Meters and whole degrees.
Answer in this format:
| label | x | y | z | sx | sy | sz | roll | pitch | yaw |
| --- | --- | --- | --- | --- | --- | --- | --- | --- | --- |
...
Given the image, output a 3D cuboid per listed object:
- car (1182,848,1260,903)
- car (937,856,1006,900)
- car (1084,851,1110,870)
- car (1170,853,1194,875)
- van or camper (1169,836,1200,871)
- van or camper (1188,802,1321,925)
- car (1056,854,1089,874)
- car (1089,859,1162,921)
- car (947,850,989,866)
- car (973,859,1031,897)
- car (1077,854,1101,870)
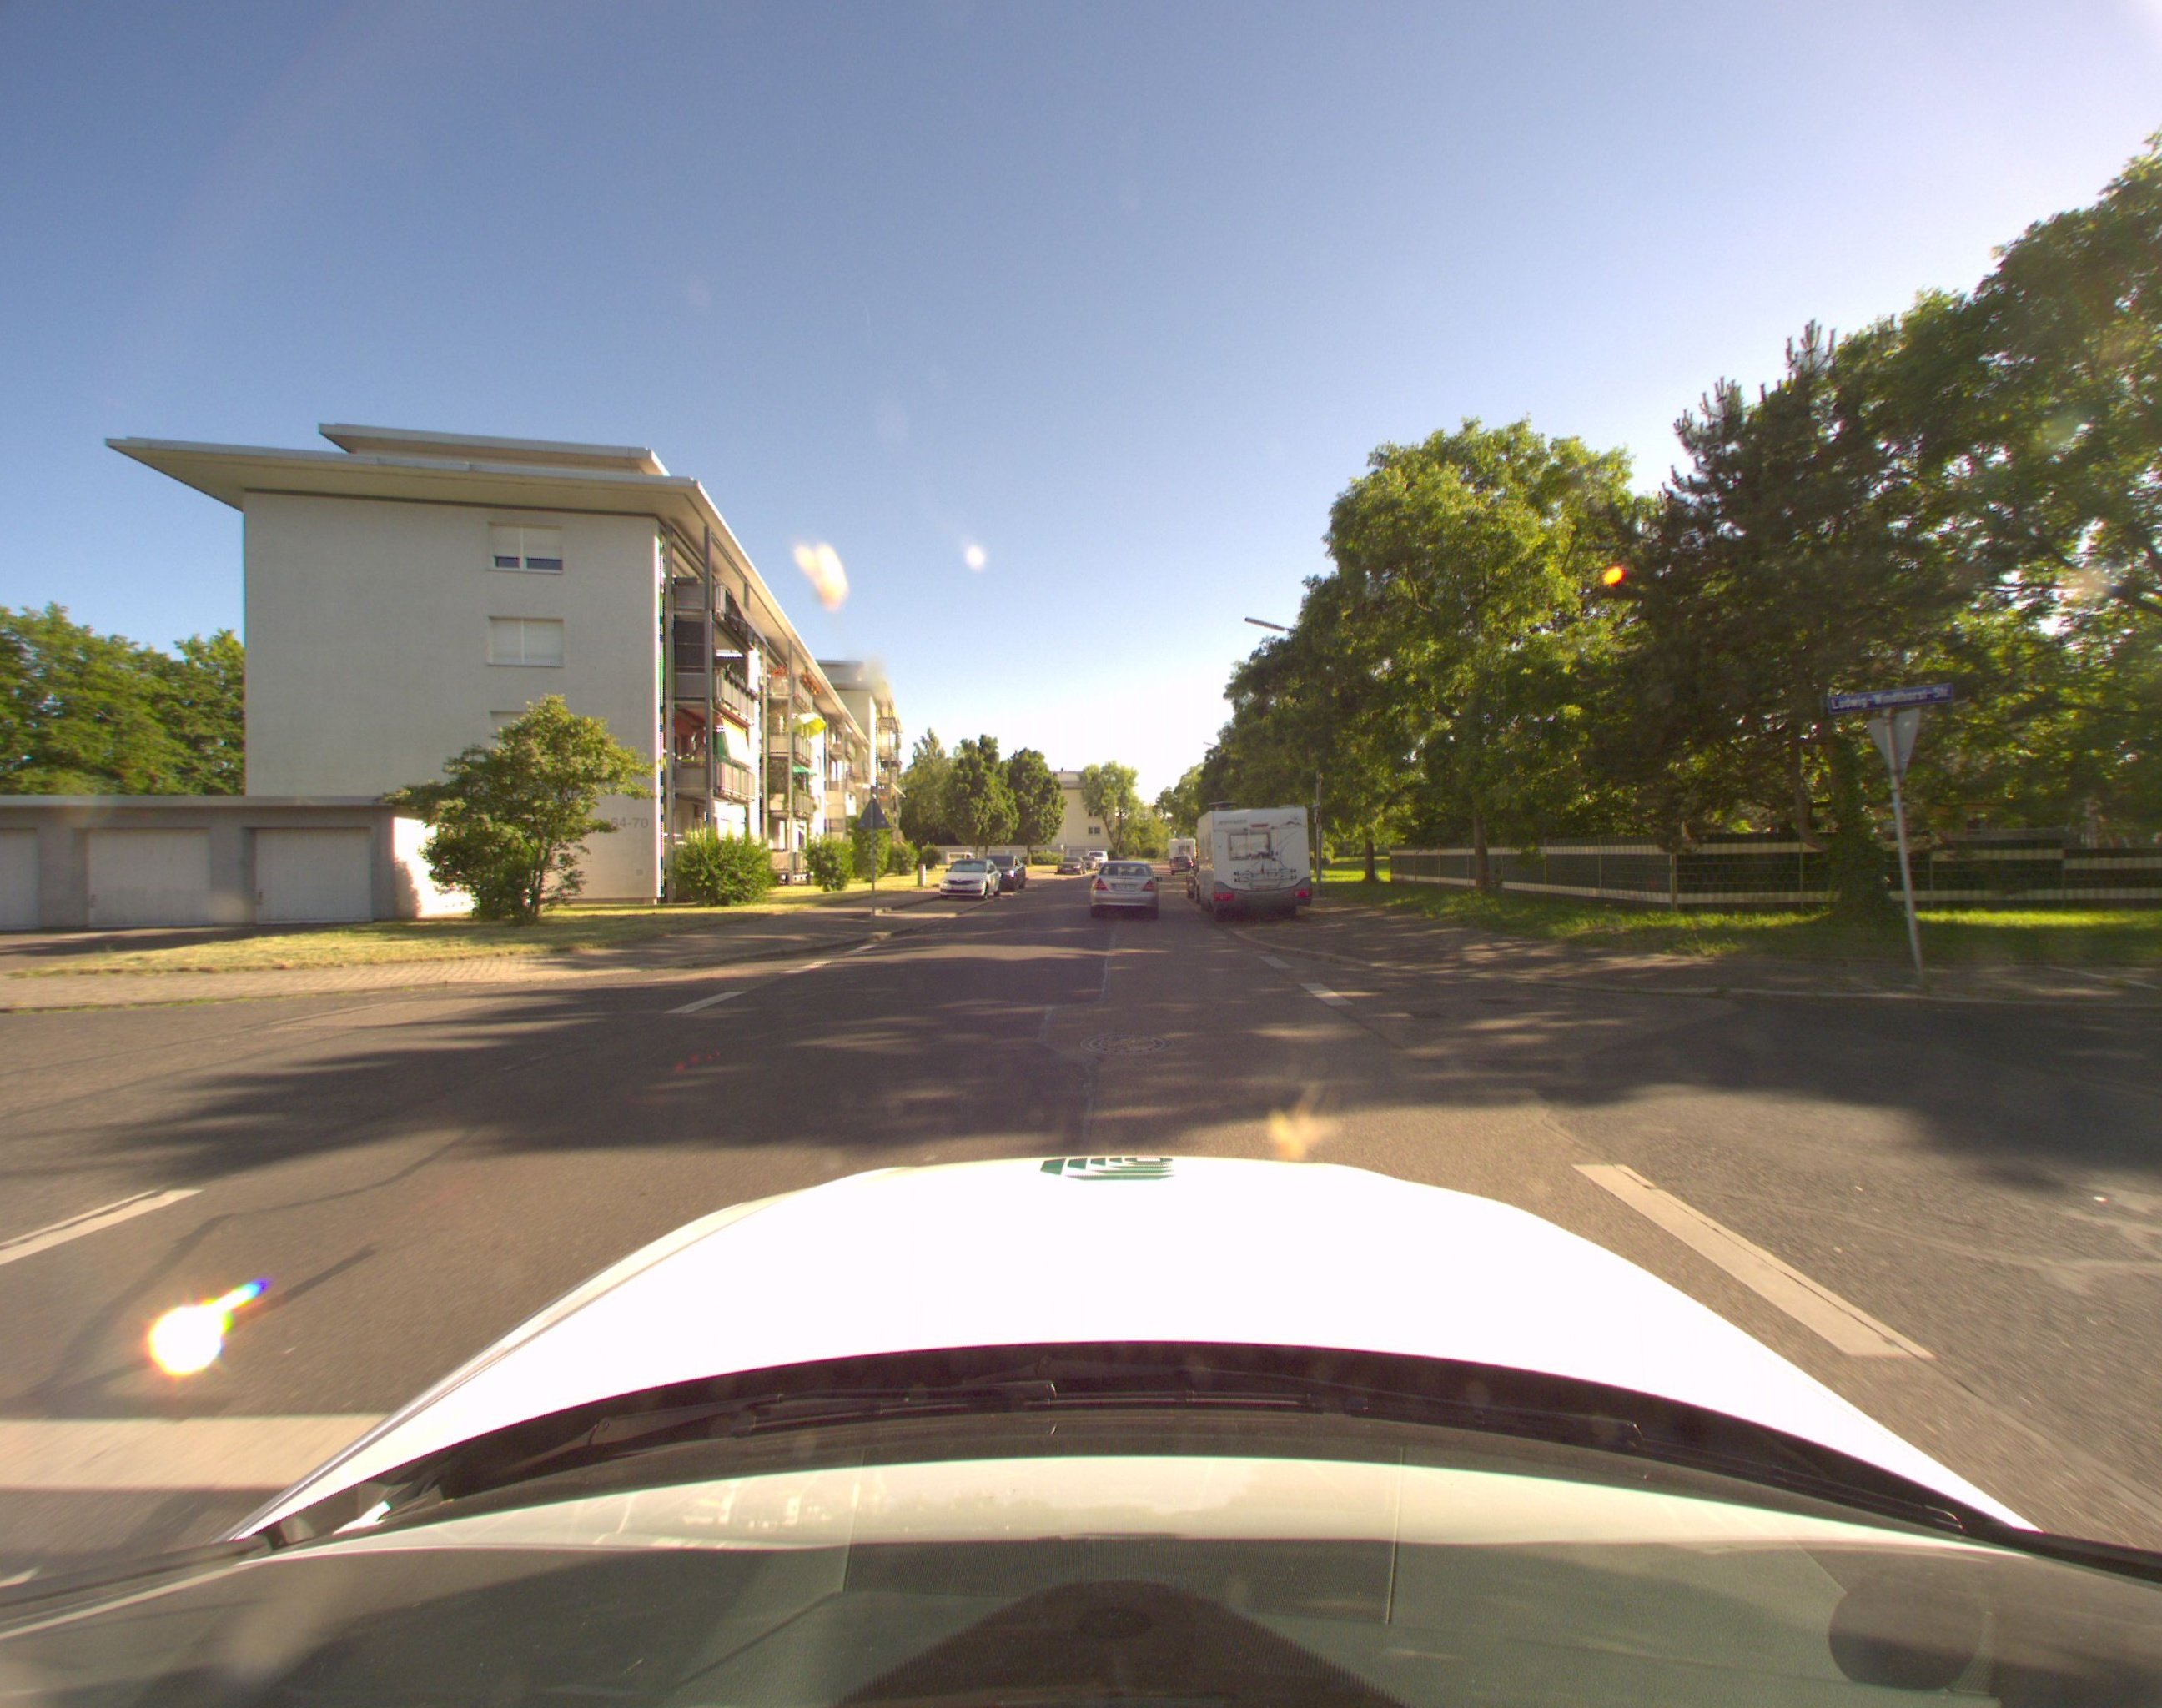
| label | x | y | z | sx | sy | sz | roll | pitch | yaw |
| --- | --- | --- | --- | --- | --- | --- | --- | --- | --- |
| car | 4.735 | 0.683 | 28.123 | 1.986 | 1.640 | 4.538 | -2 | 0 | 2 |
| car | -3.996 | 0.835 | 30.285 | 1.639 | 1.466 | 4.336 | 0 | 0 | 4 |
| car | 1.703 | 0.685 | 84.895 | 2.003 | 1.885 | 5.202 | 1 | 0 | 8 |
| car | 7.931 | 0.775 | 64.249 | 1.712 | 1.524 | 4.435 | -4 | 0 | 5 |
| van or camper | 8.967 | -0.063 | 71.308 | 2.484 | 2.845 | 6.863 | -1 | 0 | 6 |
| van or camper | 4.281 | 0.204 | 21.339 | 2.341 | 2.596 | 6.431 | -4 | 0 | 3 |
| car | -0.649 | 0.796 | 65.679 | 2.024 | 1.493 | 5.266 | -1 | 0 | 7 |
| car | 1.175 | 0.873 | 21.021 | 1.725 | 1.434 | 3.441 | 1 | -1 | 4 |
| car | -15.134 | 0.523 | 109.227 | 5.068 | 1.951 | 2.246 | -1 | 0 | 14 |
| car | -3.516 | 1.025 | 36.975 | 1.906 | 1.604 | 4.815 | -1 | 0 | 3 |
| car | 0.785 | 0.777 | 78.337 | 1.823 | 1.518 | 4.230 | 1 | 0 | 8 |
